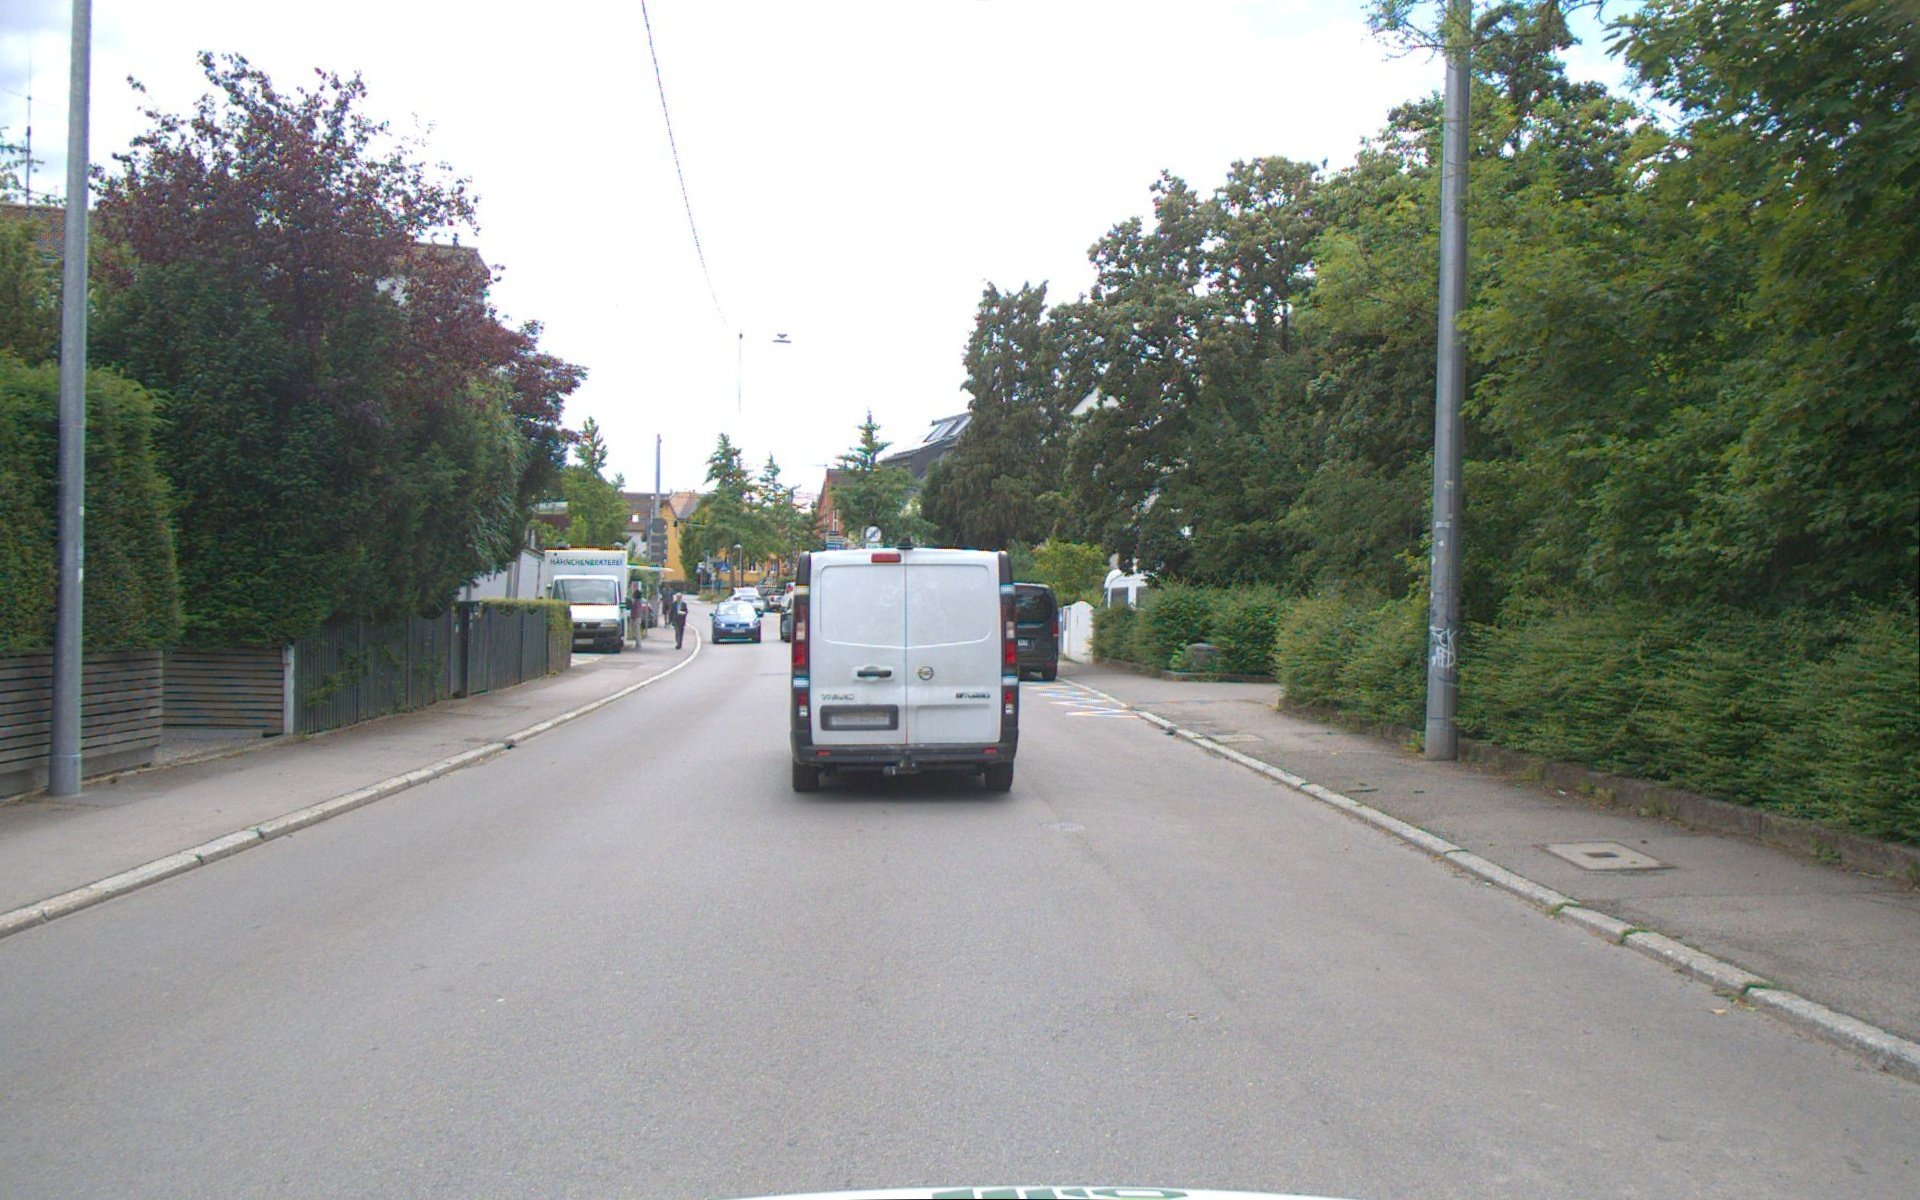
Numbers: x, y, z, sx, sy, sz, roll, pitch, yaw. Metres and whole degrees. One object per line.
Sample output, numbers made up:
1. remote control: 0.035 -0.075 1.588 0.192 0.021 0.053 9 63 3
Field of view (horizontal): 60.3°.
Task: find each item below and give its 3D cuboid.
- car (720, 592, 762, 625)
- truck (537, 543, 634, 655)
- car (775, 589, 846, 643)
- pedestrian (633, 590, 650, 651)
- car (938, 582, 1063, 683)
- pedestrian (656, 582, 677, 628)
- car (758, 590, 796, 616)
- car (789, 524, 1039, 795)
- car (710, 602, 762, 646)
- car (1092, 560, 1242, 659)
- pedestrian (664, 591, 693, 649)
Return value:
1. car: -12.483 0.449 94.063 1.960 1.813 3.985 0 0 -14
2. truck: -10.501 -0.015 46.866 2.429 2.890 6.689 1 0 -11
3. car: -5.428 0.552 59.621 1.960 1.880 3.985 0 0 -14
4. pedestrian: -9.136 0.572 47.477 0.394 1.724 0.596 3 -1 -11
5. car: 0.737 0.624 33.951 1.872 1.881 5.151 1 0 -6
6. pedestrian: -12.970 0.208 73.168 0.719 1.980 1.216 3 -1 -6
7. car: -11.672 0.168 105.211 1.714 1.520 3.638 3 -1 -17
8. car: -0.571 0.458 14.745 1.879 2.038 4.431 0 0 -6
9. car: -8.089 0.854 59.986 1.661 1.457 3.922 3 -1 -5
10. car: 6.130 0.268 49.728 2.458 2.728 5.160 3 -1 -18
11. pedestrian: -8.665 0.618 50.904 0.709 1.716 1.108 3 -1 -6
